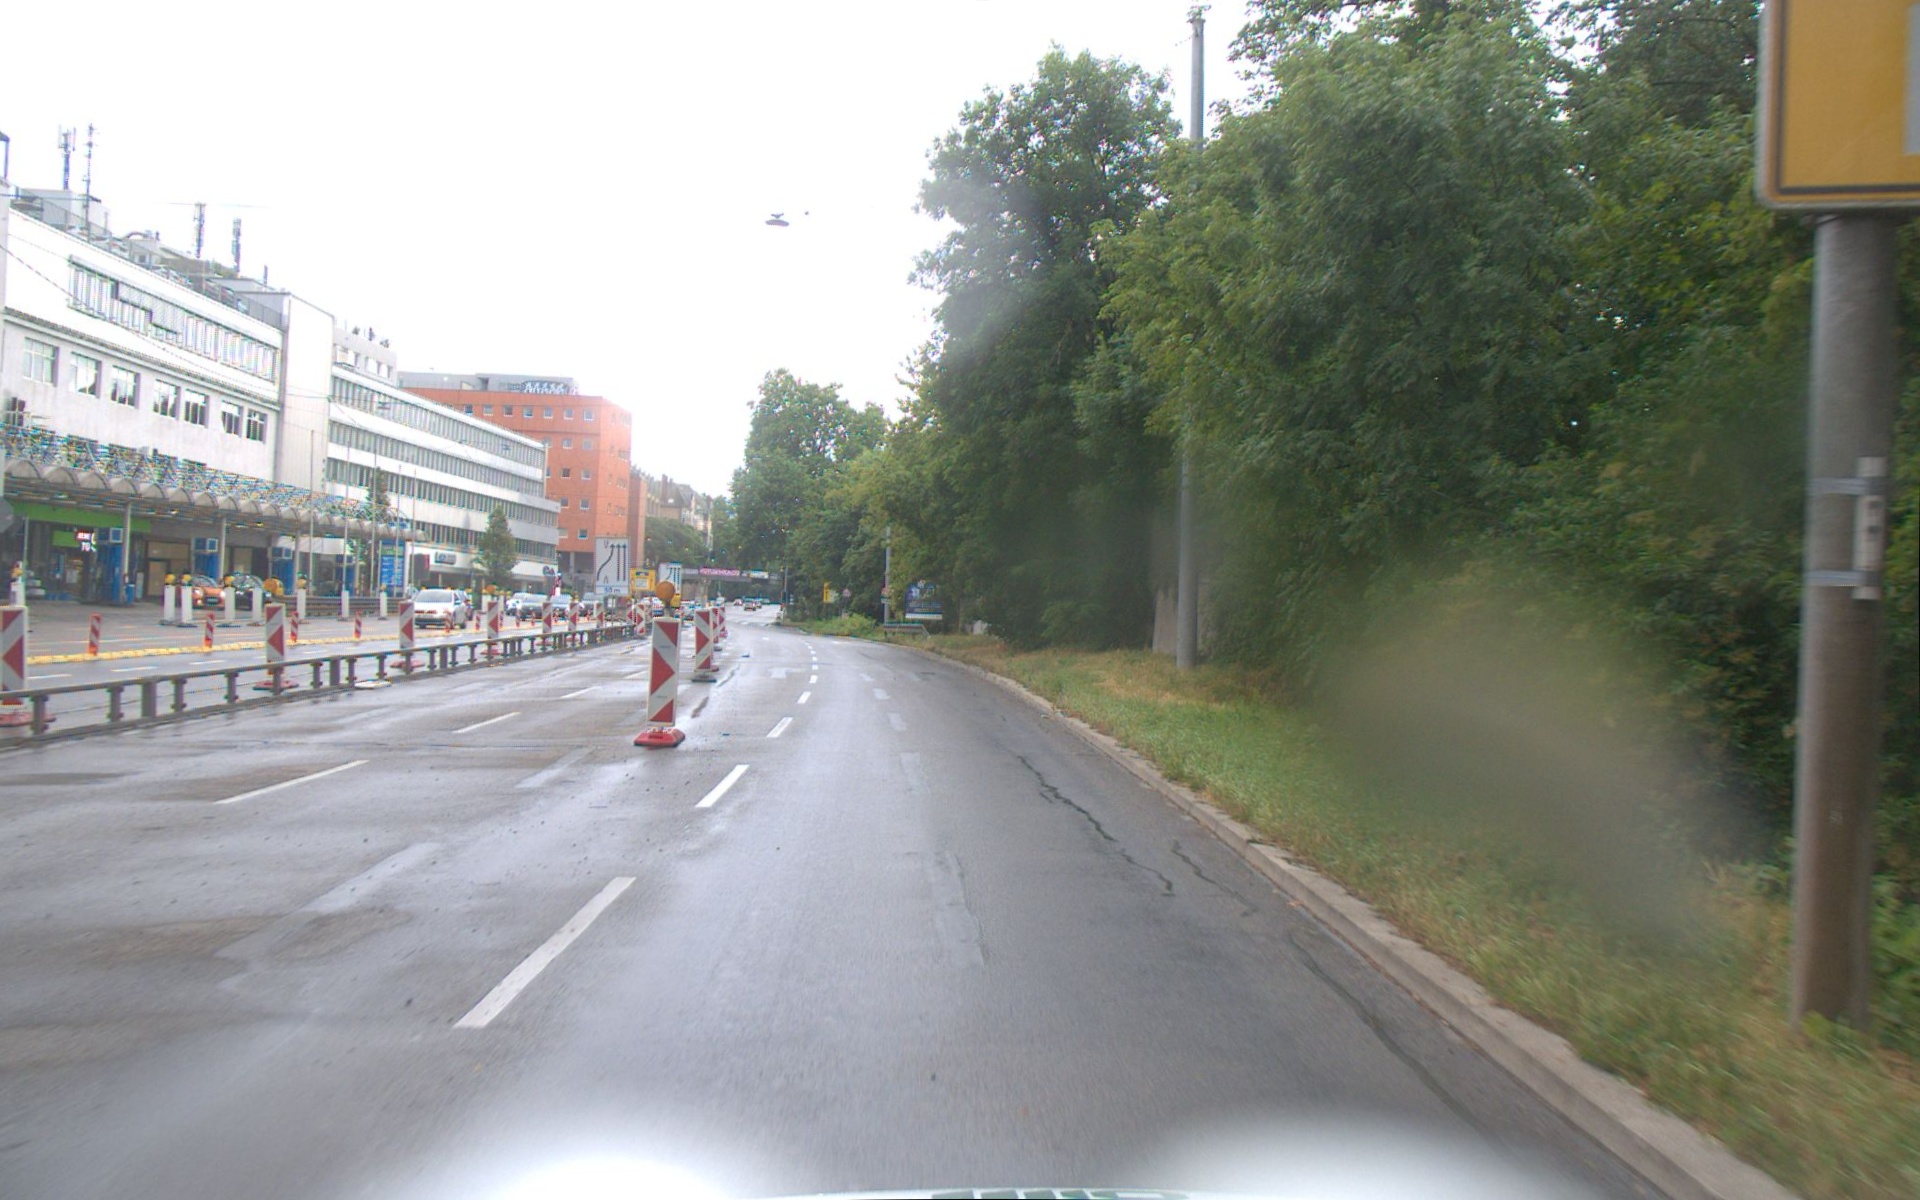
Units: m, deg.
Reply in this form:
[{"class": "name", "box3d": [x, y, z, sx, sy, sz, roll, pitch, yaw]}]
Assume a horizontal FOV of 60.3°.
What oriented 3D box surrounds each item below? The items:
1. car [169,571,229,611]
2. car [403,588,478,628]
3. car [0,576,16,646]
[{"class": "car", "box3d": [-36.020, -0.434, 78.245, 1.785, 1.683, 3.950, 4, -1, -36]}, {"class": "car", "box3d": [-19.314, 0.290, 61.644, 1.745, 1.405, 4.451, 1, 0, -5]}, {"class": "car", "box3d": [-20.532, 0.199, 32.314, 1.726, 1.430, 4.250, 1, 0, -1]}]
